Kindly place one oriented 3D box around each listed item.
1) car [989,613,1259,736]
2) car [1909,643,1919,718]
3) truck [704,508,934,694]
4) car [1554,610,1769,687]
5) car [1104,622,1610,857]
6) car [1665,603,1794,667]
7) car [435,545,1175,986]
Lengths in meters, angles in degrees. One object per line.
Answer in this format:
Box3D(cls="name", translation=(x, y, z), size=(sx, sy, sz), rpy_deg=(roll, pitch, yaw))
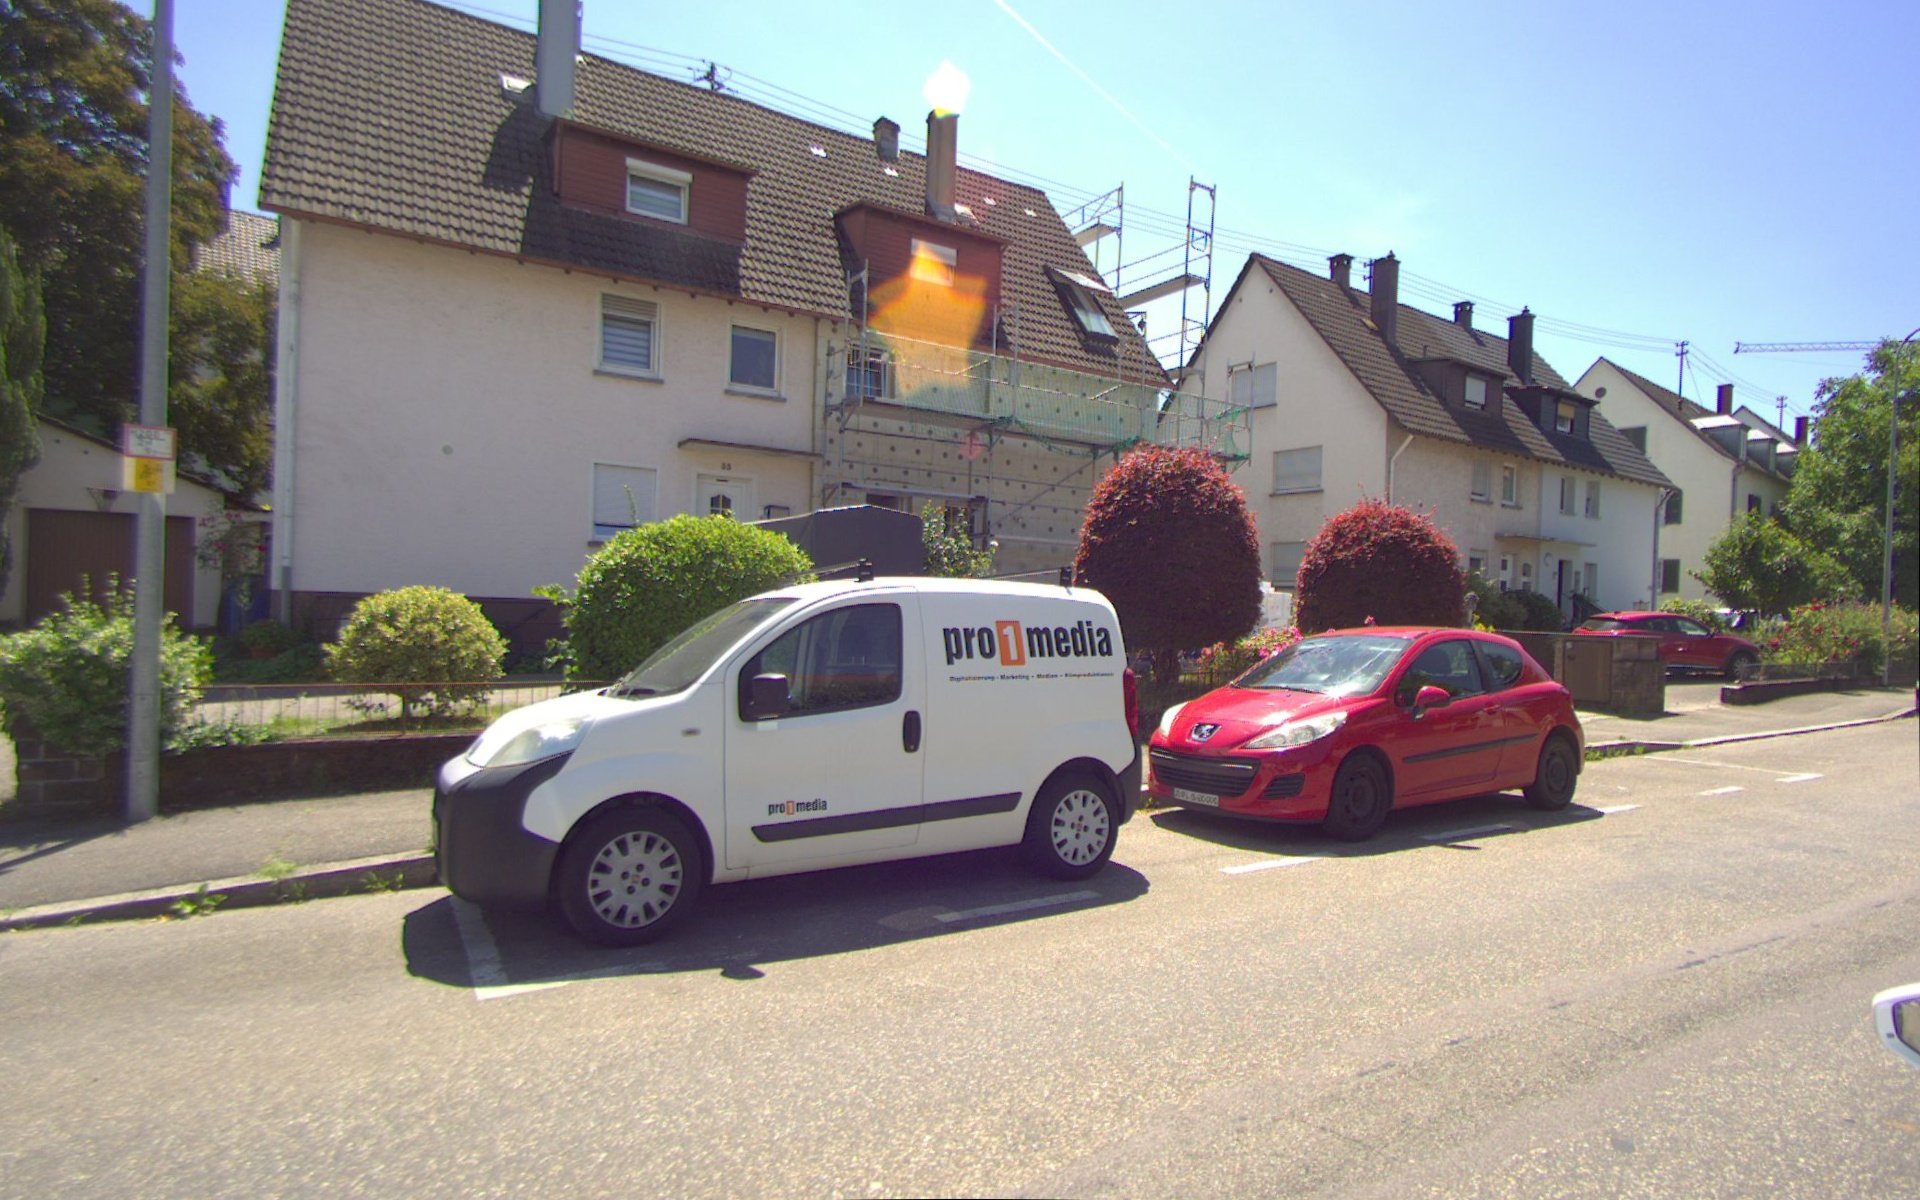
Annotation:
Box3D(cls="car", translation=(2.578, 1.062, 15.509), size=(3.957, 1.535, 1.675), rpy_deg=(1, 4, -33))
Box3D(cls="car", translation=(19.979, 1.515, 19.308), size=(4.193, 1.402, 1.688), rpy_deg=(1, -3, -35))
Box3D(cls="truck", translation=(-1.907, 0.041, 12.604), size=(1.529, 1.963, 3.749), rpy_deg=(1, -1, -31))
Box3D(cls="car", translation=(16.211, 1.083, 23.288), size=(4.037, 1.532, 1.645), rpy_deg=(-1, 3, -9))
Box3D(cls="car", translation=(3.298, 0.951, 8.191), size=(4.011, 1.497, 1.752), rpy_deg=(1, -2, -31))
Box3D(cls="car", translation=(24.469, 1.116, 31.945), size=(3.950, 1.895, 1.708), rpy_deg=(2, 1, -28))
Box3D(cls="car", translation=(-0.799, 0.729, 5.761), size=(3.842, 1.759, 1.715), rpy_deg=(1, -3, -31))
